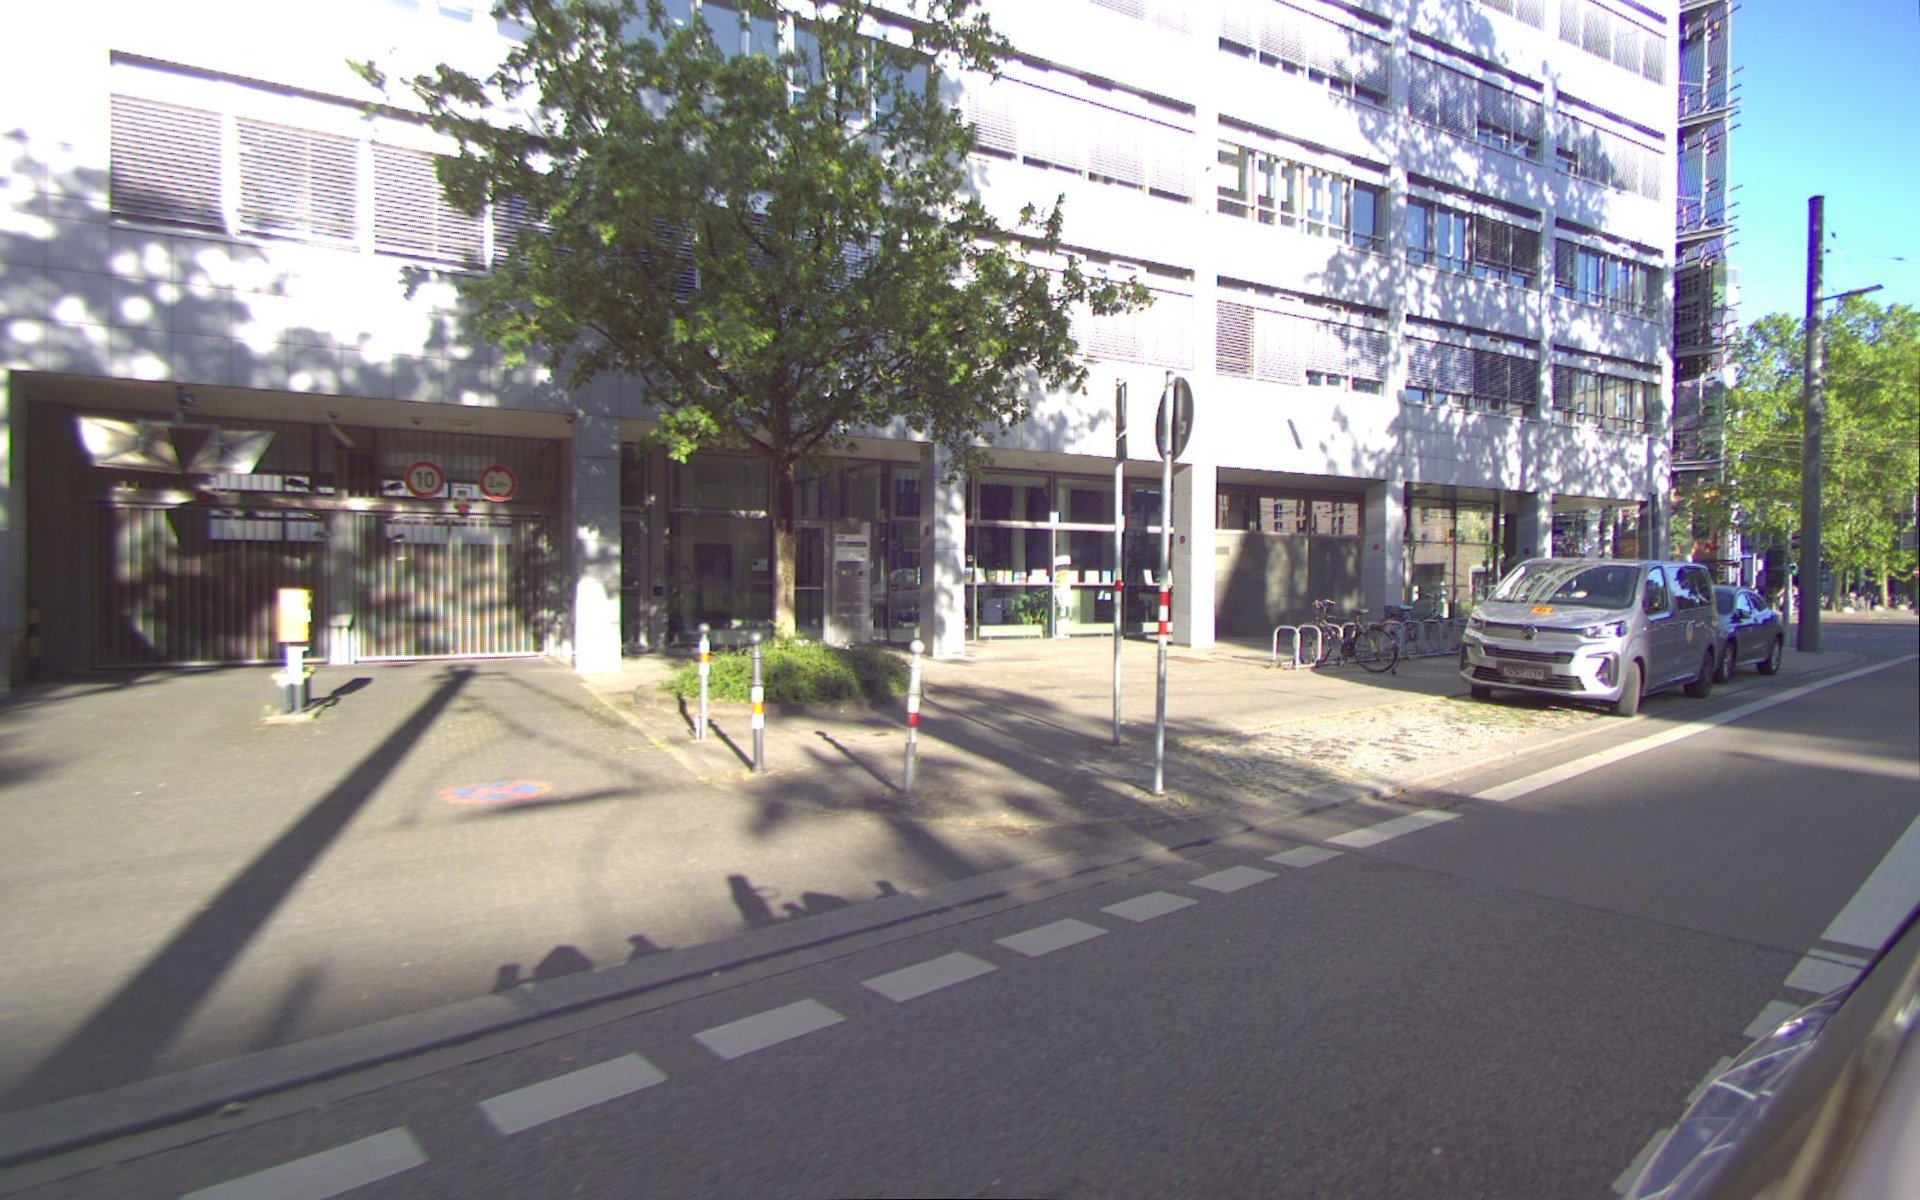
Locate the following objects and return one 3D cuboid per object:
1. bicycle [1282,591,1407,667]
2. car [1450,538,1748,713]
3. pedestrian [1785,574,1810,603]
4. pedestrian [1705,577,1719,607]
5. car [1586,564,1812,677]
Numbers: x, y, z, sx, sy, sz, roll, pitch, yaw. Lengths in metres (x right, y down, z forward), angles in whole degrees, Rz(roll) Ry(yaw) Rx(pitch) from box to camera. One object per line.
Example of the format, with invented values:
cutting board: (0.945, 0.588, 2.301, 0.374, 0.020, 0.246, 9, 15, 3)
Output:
bicycle: (6.128, 0.434, 16.212, 0.655, 1.120, 1.776, 0, 1, -40)
car: (8.581, 0.208, 13.420, 4.775, 1.928, 1.922, -1, 3, -40)
pedestrian: (46.891, -0.656, 56.661, 0.600, 1.639, 0.982, 0, 1, -43)
pedestrian: (44.235, -0.493, 59.526, 0.607, 1.765, 0.659, 1, 1, 39)
car: (12.615, 0.269, 17.214, 3.941, 1.661, 1.924, 0, 3, -36)
